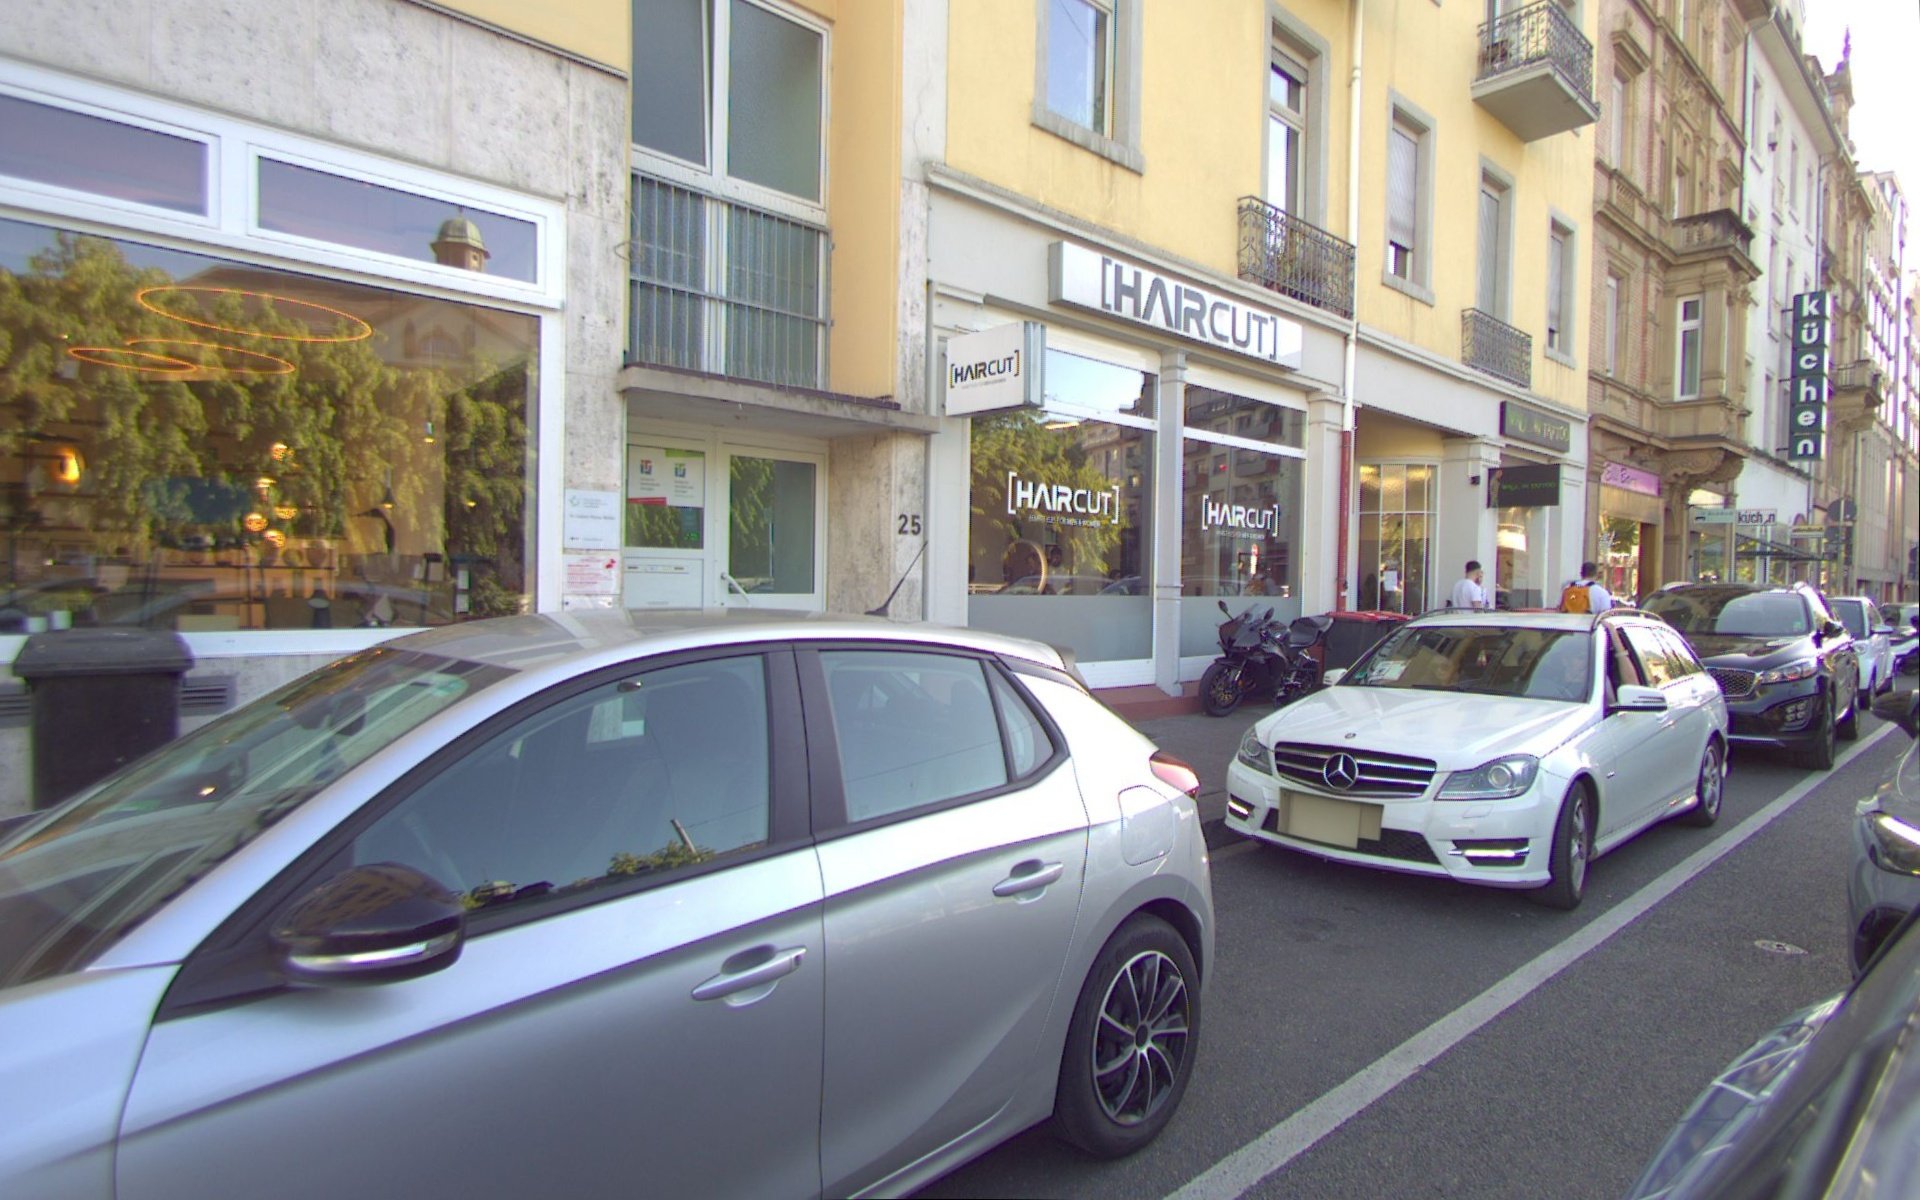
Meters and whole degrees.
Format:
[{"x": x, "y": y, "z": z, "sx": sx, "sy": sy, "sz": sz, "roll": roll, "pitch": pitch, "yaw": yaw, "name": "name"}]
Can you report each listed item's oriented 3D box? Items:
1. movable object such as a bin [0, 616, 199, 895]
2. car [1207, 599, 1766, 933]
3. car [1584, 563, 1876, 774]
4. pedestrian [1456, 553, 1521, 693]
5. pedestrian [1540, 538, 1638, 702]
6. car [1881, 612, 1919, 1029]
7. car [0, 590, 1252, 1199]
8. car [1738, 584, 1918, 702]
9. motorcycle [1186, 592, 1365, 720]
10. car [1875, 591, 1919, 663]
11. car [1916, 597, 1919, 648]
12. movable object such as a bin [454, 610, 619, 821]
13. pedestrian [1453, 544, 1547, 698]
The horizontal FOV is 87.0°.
[{"x": -3.678, "y": 0.599, "z": 4.316, "sx": 0.639, "sy": 1.036, "sz": 0.737, "roll": 0, "pitch": 0, "yaw": -41, "name": "movable object such as a bin"}, {"x": 3.537, "y": 0.707, "z": 6.389, "sx": 4.301, "sy": 1.389, "sz": 1.671, "roll": -1, "pitch": 0, "yaw": -41, "name": "car"}, {"x": 8.014, "y": 0.529, "z": 10.368, "sx": 4.338, "sy": 1.711, "sz": 1.802, "roll": -1, "pitch": 0, "yaw": -45, "name": "car"}, {"x": 7.244, "y": 0.300, "z": 13.875, "sx": 0.627, "sy": 1.859, "sz": 0.760, "roll": 0, "pitch": 0, "yaw": 41, "name": "pedestrian"}, {"x": 7.470, "y": 0.215, "z": 12.022, "sx": 0.809, "sy": 1.845, "sz": 0.967, "roll": 0, "pitch": 1, "yaw": 44, "name": "pedestrian"}, {"x": 5.402, "y": 0.749, "z": 4.377, "sx": 4.397, "sy": 1.385, "sz": 1.767, "roll": -1, "pitch": 1, "yaw": -43, "name": "car"}, {"x": -1.002, "y": 0.714, "z": 2.308, "sx": 3.625, "sy": 1.455, "sz": 1.585, "roll": -1, "pitch": 0, "yaw": -43, "name": "car"}, {"x": 12.775, "y": 0.546, "z": 14.854, "sx": 2.945, "sy": 1.542, "sz": 1.582, "roll": -1, "pitch": 0, "yaw": -41, "name": "car"}, {"x": 3.305, "y": 0.522, "z": 10.505, "sx": 2.073, "sy": 1.144, "sz": 0.735, "roll": -1, "pitch": 5, "yaw": -41, "name": "motorcycle"}, {"x": 21.902, "y": 0.564, "z": 22.811, "sx": 3.736, "sy": 1.509, "sz": 1.691, "roll": -1, "pitch": 0, "yaw": -45, "name": "car"}, {"x": 26.613, "y": 0.572, "z": 26.929, "sx": 3.306, "sy": 1.334, "sz": 1.459, "roll": -1, "pitch": 0, "yaw": -42, "name": "car"}, {"x": -2.323, "y": 0.580, "z": 5.538, "sx": 0.639, "sy": 1.036, "sz": 0.737, "roll": 0, "pitch": 0, "yaw": -41, "name": "movable object such as a bin"}, {"x": 6.849, "y": 0.253, "z": 12.868, "sx": 0.961, "sy": 1.900, "sz": 0.532, "roll": 0, "pitch": 0, "yaw": 18, "name": "pedestrian"}]
